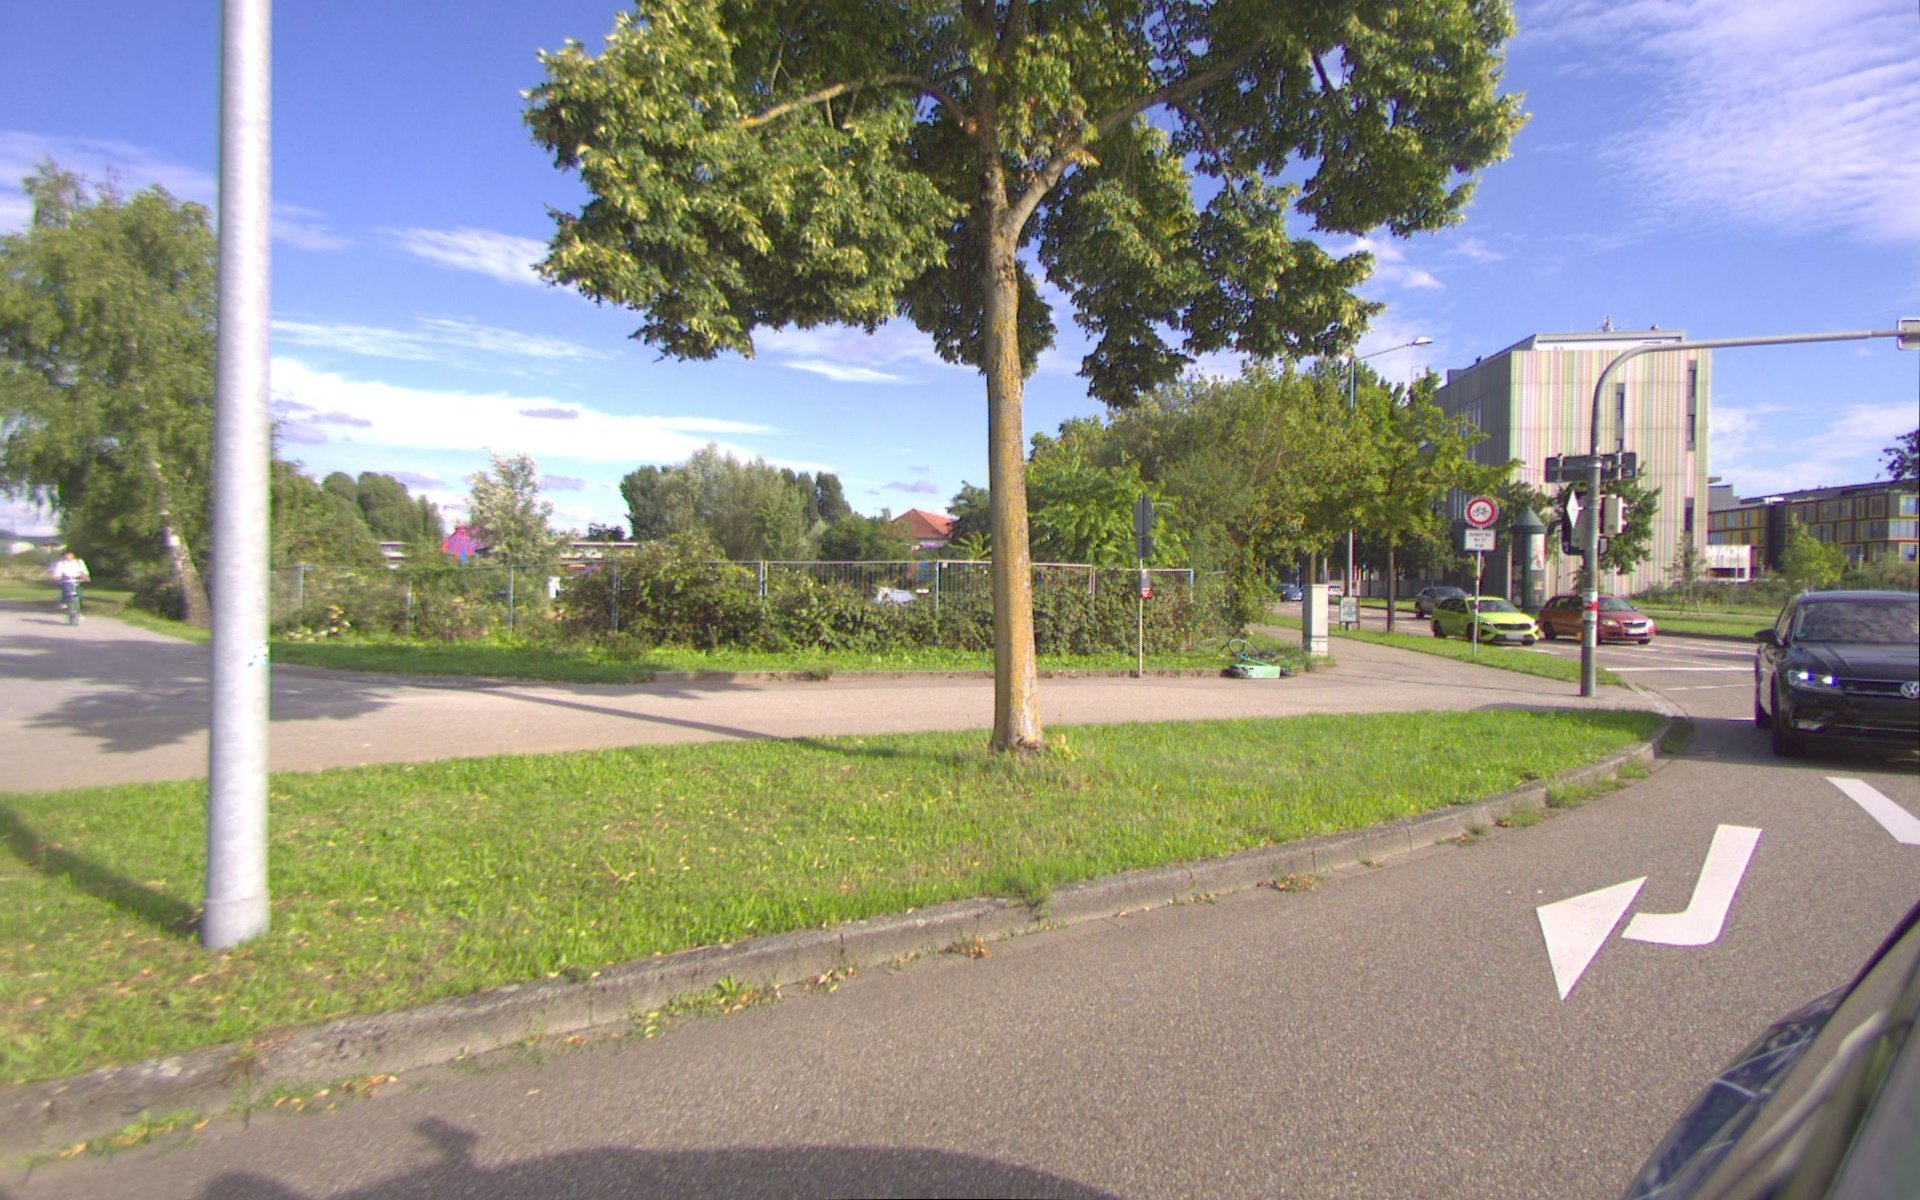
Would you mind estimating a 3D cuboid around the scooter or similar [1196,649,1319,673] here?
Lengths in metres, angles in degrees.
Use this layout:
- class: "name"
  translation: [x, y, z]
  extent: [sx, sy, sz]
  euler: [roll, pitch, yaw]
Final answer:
- class: "scooter or similar"
  translation: [4.997, 1.021, 17.086]
  extent: [1.521, 0.284, 1.296]
  euler: [0, 1, -18]

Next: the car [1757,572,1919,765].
- class: "car"
  translation: [9.821, 0.552, 10.791]
  extent: [1.861, 1.676, 4.950]
  euler: [-1, 1, 36]

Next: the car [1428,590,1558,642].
- class: "car"
  translation: [16.492, 0.444, 31.590]
  extent: [1.863, 1.438, 4.604]
  euler: [0, 1, 4]

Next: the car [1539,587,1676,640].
- class: "car"
  translation: [19.755, 0.358, 31.107]
  extent: [1.664, 1.493, 4.224]
  euler: [-1, 1, 3]

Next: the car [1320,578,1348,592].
- class: "car"
  translation: [37.690, -1.517, 102.078]
  extent: [1.656, 1.452, 3.989]
  euler: [1, 1, 5]

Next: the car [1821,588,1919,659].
- class: "car"
  translation: [21.072, 0.499, 21.604]
  extent: [1.792, 1.438, 4.442]
  euler: [-1, 1, 5]

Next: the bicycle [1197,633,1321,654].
- class: "bicycle"
  translation: [5.832, 0.837, 19.909]
  extent: [1.068, 0.350, 2.252]
  euler: [-1, -1, -28]

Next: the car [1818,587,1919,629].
- class: "car"
  translation: [35.500, 0.289, 38.947]
  extent: [1.752, 1.520, 3.989]
  euler: [2, 1, 5]

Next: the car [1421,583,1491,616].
- class: "car"
  translation: [23.950, -0.048, 48.983]
  extent: [1.665, 1.493, 4.221]
  euler: [0, 1, 6]

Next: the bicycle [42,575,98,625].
- class: "bicycle"
  translation: [-21.523, -0.037, 24.462]
  extent: [2.593, 1.140, 0.791]
  euler: [2, 2, 43]

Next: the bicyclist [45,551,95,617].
- class: "bicyclist"
  translation: [-21.496, -0.398, 24.446]
  extent: [0.901, 1.566, 0.792]
  euler: [1, 1, 41]

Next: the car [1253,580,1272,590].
- class: "car"
  translation: [44.431, -2.165, 148.821]
  extent: [1.824, 1.452, 4.063]
  euler: [0, 1, 5]

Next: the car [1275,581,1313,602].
- class: "car"
  translation: [27.900, -0.766, 84.608]
  extent: [1.965, 1.682, 4.797]
  euler: [1, 1, 5]
